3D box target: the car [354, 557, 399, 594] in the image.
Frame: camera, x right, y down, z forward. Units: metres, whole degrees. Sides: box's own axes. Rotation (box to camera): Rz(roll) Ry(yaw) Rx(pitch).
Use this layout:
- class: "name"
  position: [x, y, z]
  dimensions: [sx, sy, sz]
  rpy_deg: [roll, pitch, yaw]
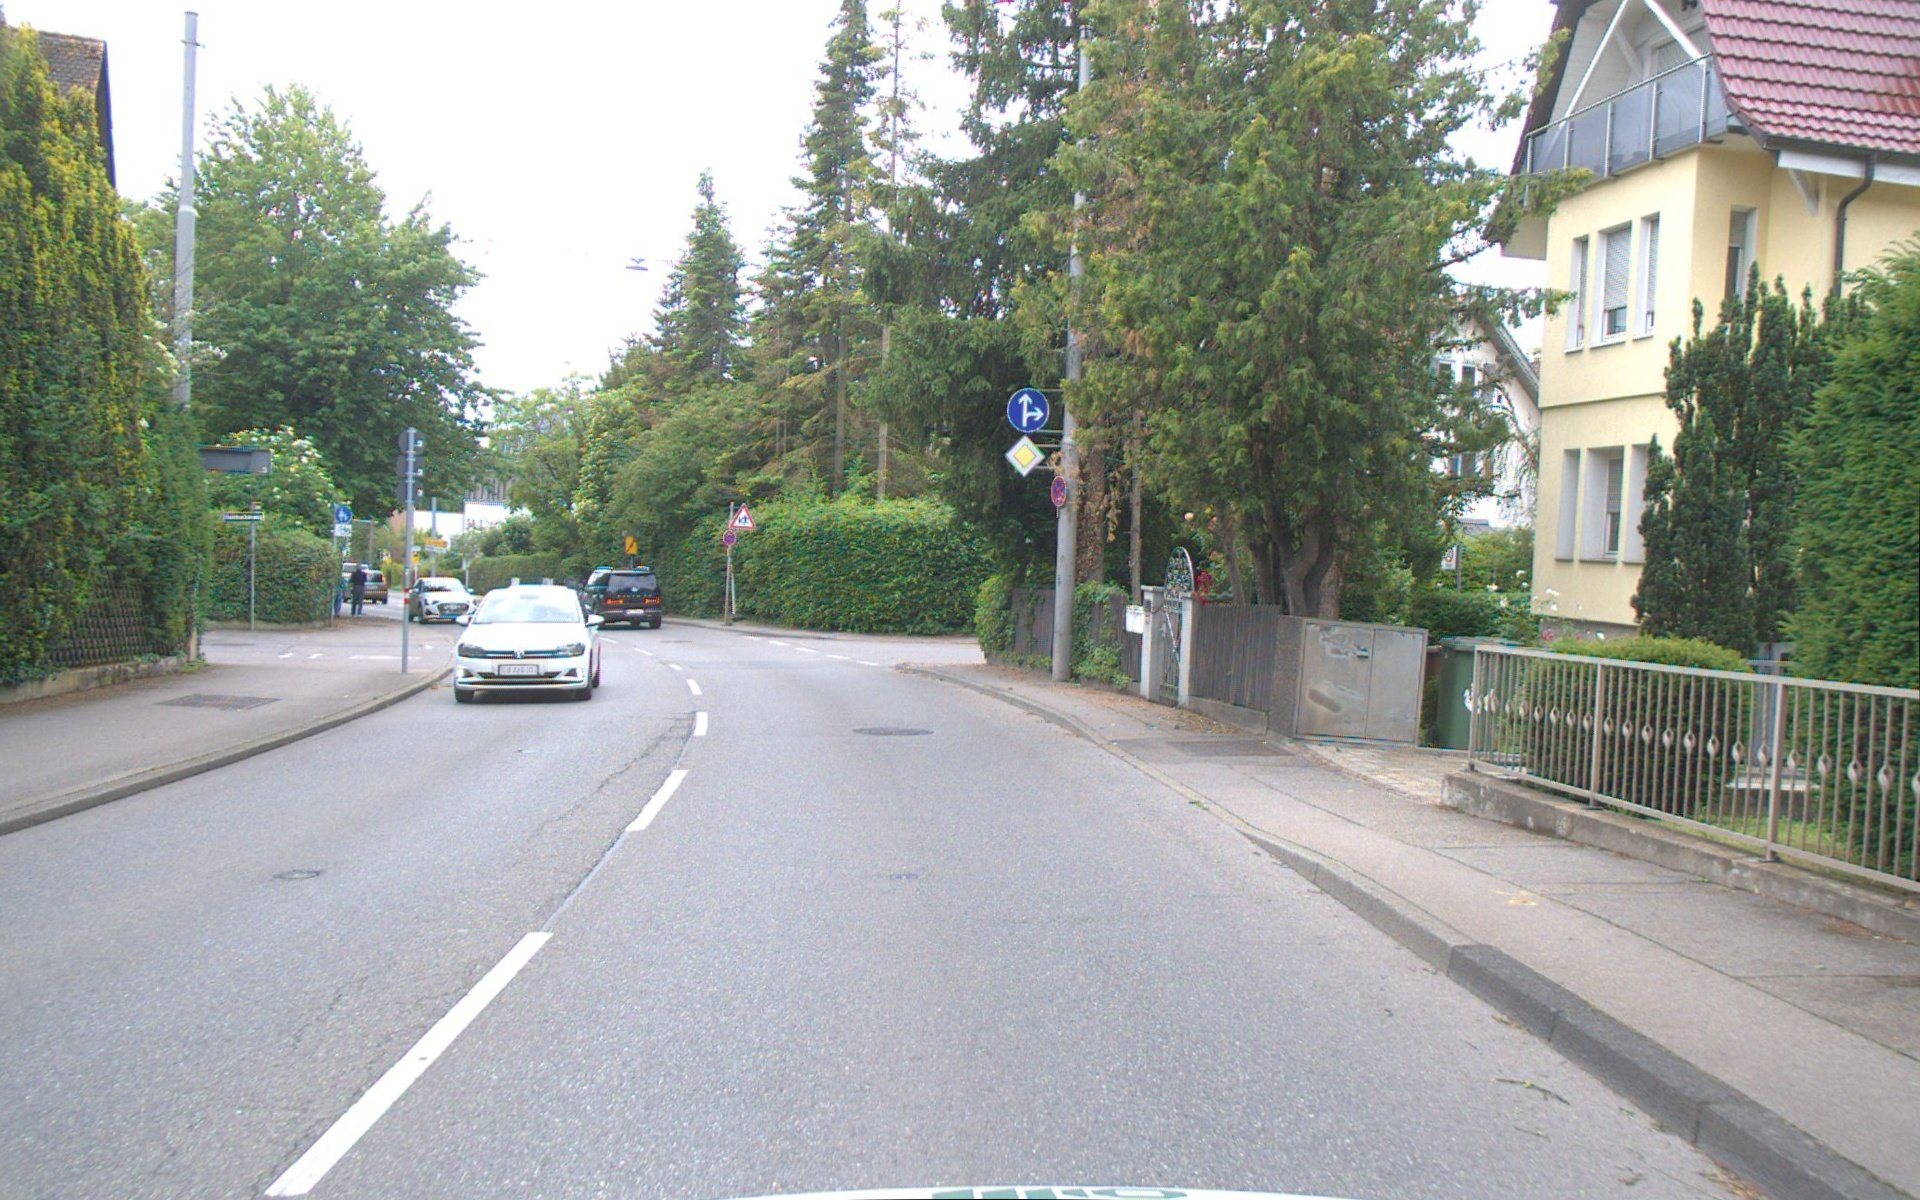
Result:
- class: "car"
  position: [-28.859, -1.197, 81.904]
  dimensions: [1.863, 1.735, 3.981]
  rpy_deg: [2, 0, -17]

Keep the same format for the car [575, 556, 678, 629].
- class: "car"
  position: [-9.827, -0.247, 48.480]
  dimensions: [1.969, 1.914, 3.967]
  rpy_deg: [1, 2, -26]

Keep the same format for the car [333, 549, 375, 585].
- class: "car"
  position: [-37.964, -2.104, 103.699]
  dimensions: [1.930, 2.048, 4.411]
  rpy_deg: [5, 1, -15]

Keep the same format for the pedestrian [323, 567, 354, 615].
- class: "pedestrian"
  position: [-19.702, -0.285, 52.424]
  dimensions: [0.666, 1.474, 0.745]
  rpy_deg: [1, 0, -43]

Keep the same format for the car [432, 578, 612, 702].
- class: "car"
  position: [-5.827, 0.469, 22.436]
  dimensions: [1.866, 1.479, 3.790]
  rpy_deg: [-1, 1, -8]

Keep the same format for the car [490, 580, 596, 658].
- class: "car"
  position: [-8.233, 0.338, 32.909]
  dimensions: [1.879, 1.422, 3.898]
  rpy_deg: [0, 1, -12]

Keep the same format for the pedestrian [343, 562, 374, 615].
- class: "pedestrian"
  position: [-19.277, -0.372, 53.012]
  dimensions: [0.625, 1.691, 0.906]
  rpy_deg: [2, -1, -42]

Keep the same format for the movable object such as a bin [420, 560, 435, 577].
- class: "movable object such as a bin"
  position: [-36.161, -2.130, 112.332]
  dimensions: [0.666, 1.092, 0.715]
  rpy_deg: [2, -1, 25]

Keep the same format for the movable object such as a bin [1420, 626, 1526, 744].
- class: "movable object such as a bin"
  position: [4.901, 0.799, 15.840]
  dimensions: [0.761, 1.067, 0.783]
  rpy_deg: [1, 1, 1]

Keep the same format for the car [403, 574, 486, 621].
- class: "car"
  position: [-16.913, -0.084, 54.173]
  dimensions: [1.788, 1.468, 4.157]
  rpy_deg: [0, 0, -29]
